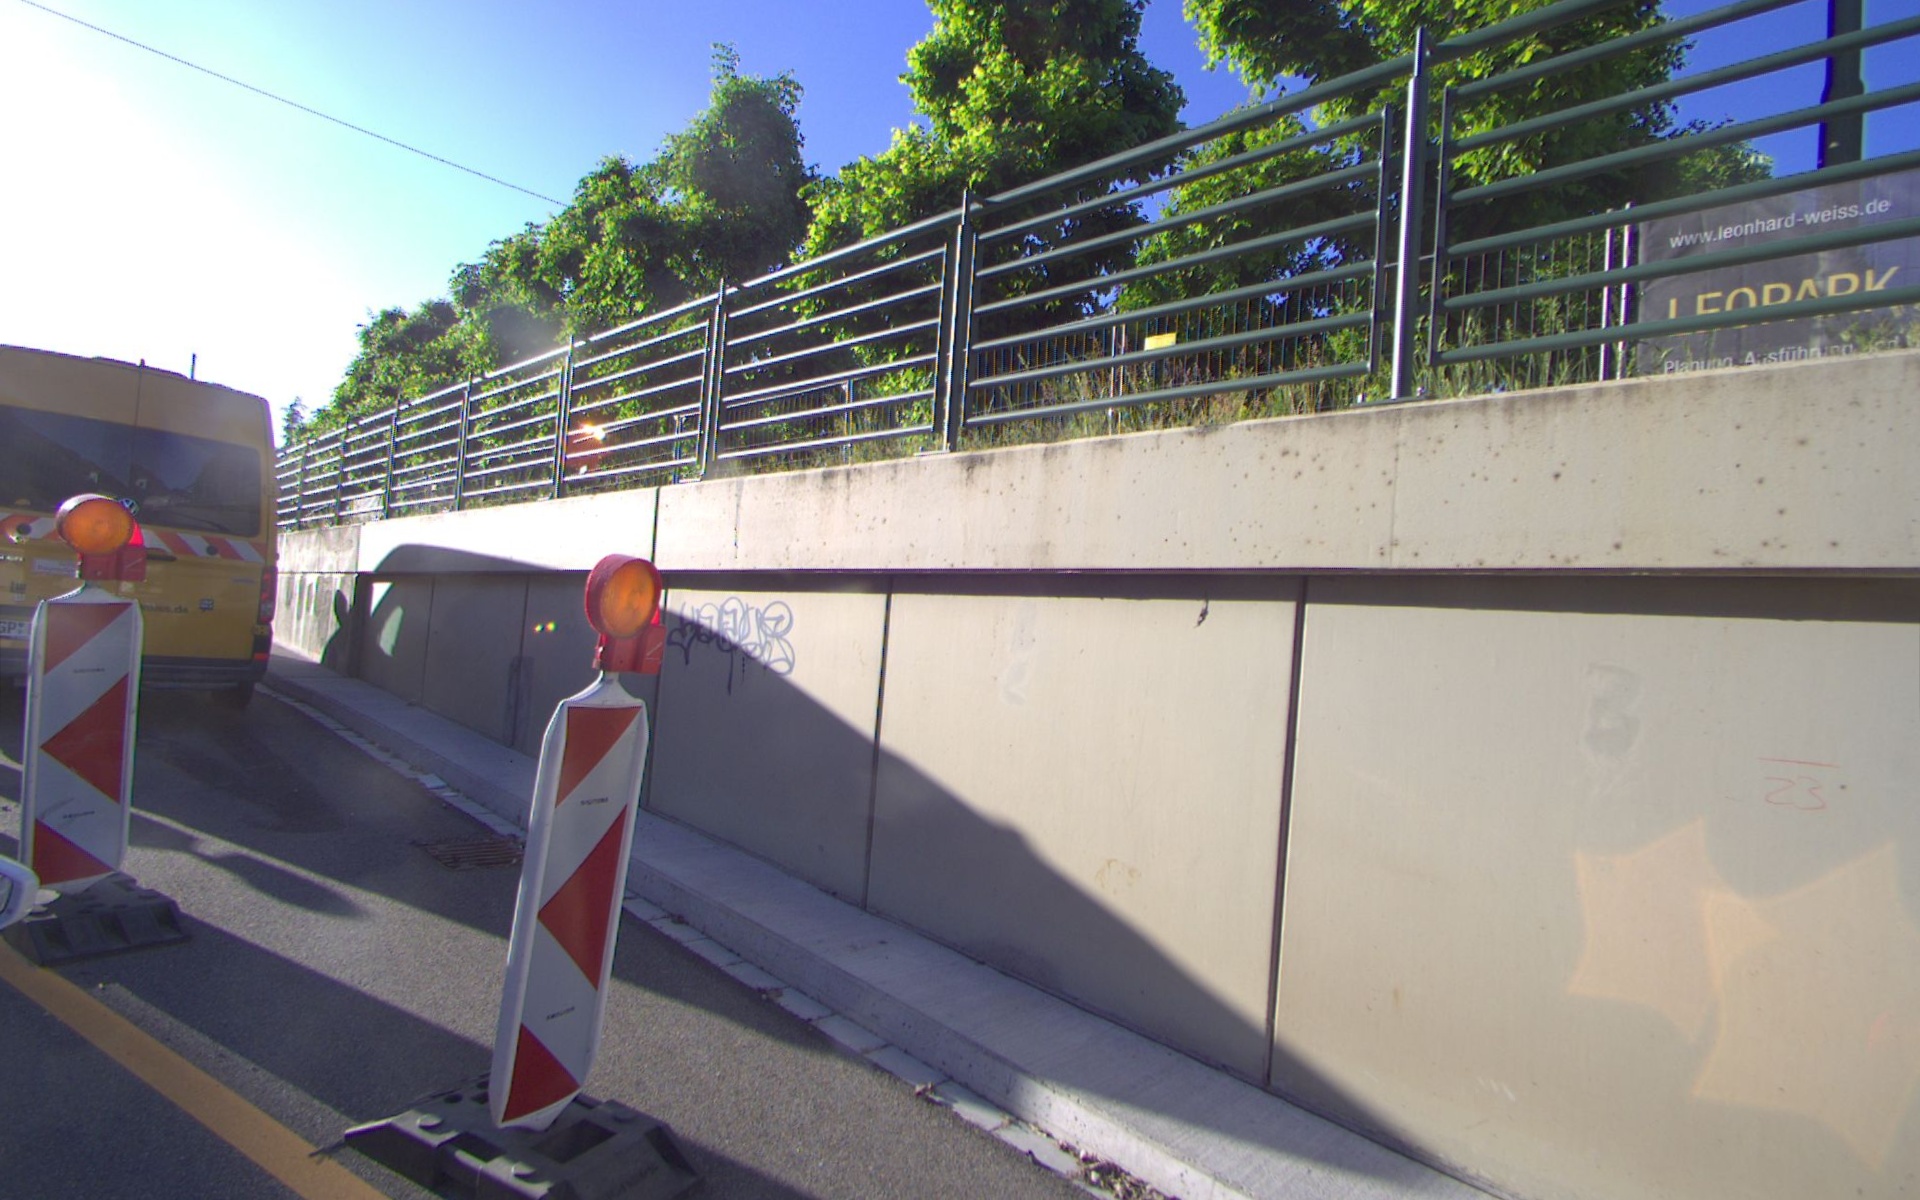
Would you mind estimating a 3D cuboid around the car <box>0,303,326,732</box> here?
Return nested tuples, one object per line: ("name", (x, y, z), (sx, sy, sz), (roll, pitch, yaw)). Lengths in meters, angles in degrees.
("car", (-7.964, -0.664, 9.205), (2.106, 2.656, 6.900), (7, -1, -44))
